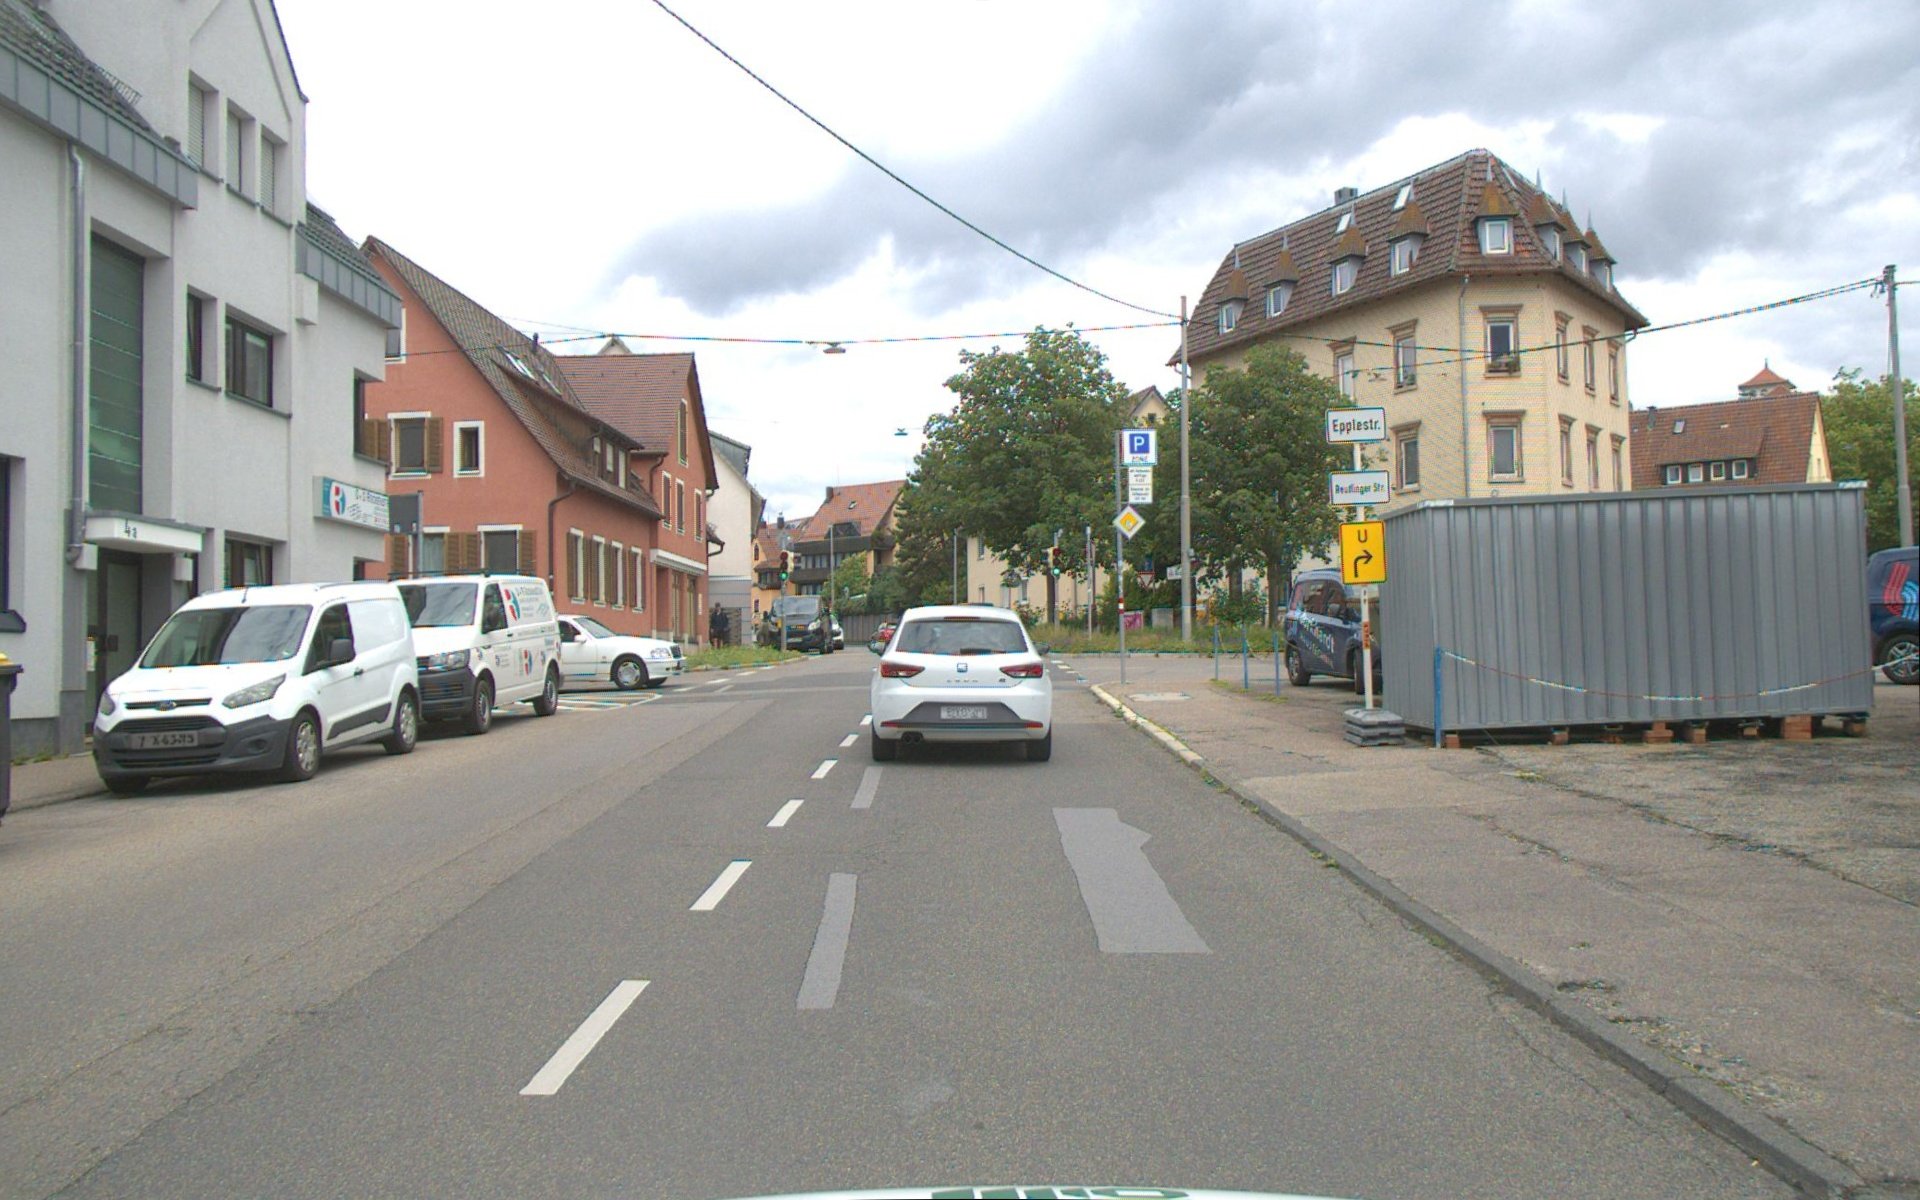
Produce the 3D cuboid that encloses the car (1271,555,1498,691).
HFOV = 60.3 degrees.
[{"bbox_3d":[6.194,0.315,24.727,1.713,1.770,4.565,-2,0,-7],"label":"car"}]

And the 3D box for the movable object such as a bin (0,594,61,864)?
[{"bbox_3d":[-6.488,0.815,10.176,1.118,1.661,1.561,-2,0,-6],"label":"movable object such as a bin"}]

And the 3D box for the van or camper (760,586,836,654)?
[{"bbox_3d":[-5.427,0.731,55.967,2.031,2.041,4.856,-3,-3,-1],"label":"van or camper"}]

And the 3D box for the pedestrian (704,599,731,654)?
[{"bbox_3d":[-8.118,0.897,55.445,0.784,1.816,0.892,0,-1,-1],"label":"pedestrian"}]

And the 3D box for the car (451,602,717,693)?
[{"bbox_3d":[-7.036,0.881,31.280,4.458,1.470,2.001,-3,-1,3],"label":"car"}]

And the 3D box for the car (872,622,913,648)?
[{"bbox_3d":[-4.163,2.184,101.673,1.729,1.477,3.984,2,-2,-15],"label":"car"}]

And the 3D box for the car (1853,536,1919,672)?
[{"bbox_3d":[13.815,0.077,21.017,1.848,1.758,3.949,2,-1,-36],"label":"car"}]

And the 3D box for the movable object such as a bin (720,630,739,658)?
[{"bbox_3d":[-8.990,1.713,64.516,0.652,1.036,0.795,-1,-1,-4],"label":"movable object such as a bin"}]

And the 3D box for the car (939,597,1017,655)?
[{"bbox_3d":[0.432,0.736,44.758,1.724,1.477,3.995,0,-2,-5],"label":"car"}]

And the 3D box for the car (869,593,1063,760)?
[{"bbox_3d":[0.099,0.697,16.815,1.722,1.477,4.000,-1,0,1],"label":"car"}]

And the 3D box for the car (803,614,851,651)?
[{"bbox_3d":[-6.140,1.505,75.825,1.960,1.662,4.848,0,-2,-8],"label":"car"}]

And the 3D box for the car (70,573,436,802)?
[{"bbox_3d":[-6.698,0.750,16.232,1.698,1.864,4.297,-3,0,0],"label":"car"}]

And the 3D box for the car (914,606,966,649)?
[{"bbox_3d":[-0.755,1.016,59.560,1.723,1.477,3.997,-1,-2,-3],"label":"car"}]

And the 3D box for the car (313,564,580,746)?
[{"bbox_3d":[-6.531,0.645,21.656,1.774,2.040,4.764,-3,0,2],"label":"car"}]
